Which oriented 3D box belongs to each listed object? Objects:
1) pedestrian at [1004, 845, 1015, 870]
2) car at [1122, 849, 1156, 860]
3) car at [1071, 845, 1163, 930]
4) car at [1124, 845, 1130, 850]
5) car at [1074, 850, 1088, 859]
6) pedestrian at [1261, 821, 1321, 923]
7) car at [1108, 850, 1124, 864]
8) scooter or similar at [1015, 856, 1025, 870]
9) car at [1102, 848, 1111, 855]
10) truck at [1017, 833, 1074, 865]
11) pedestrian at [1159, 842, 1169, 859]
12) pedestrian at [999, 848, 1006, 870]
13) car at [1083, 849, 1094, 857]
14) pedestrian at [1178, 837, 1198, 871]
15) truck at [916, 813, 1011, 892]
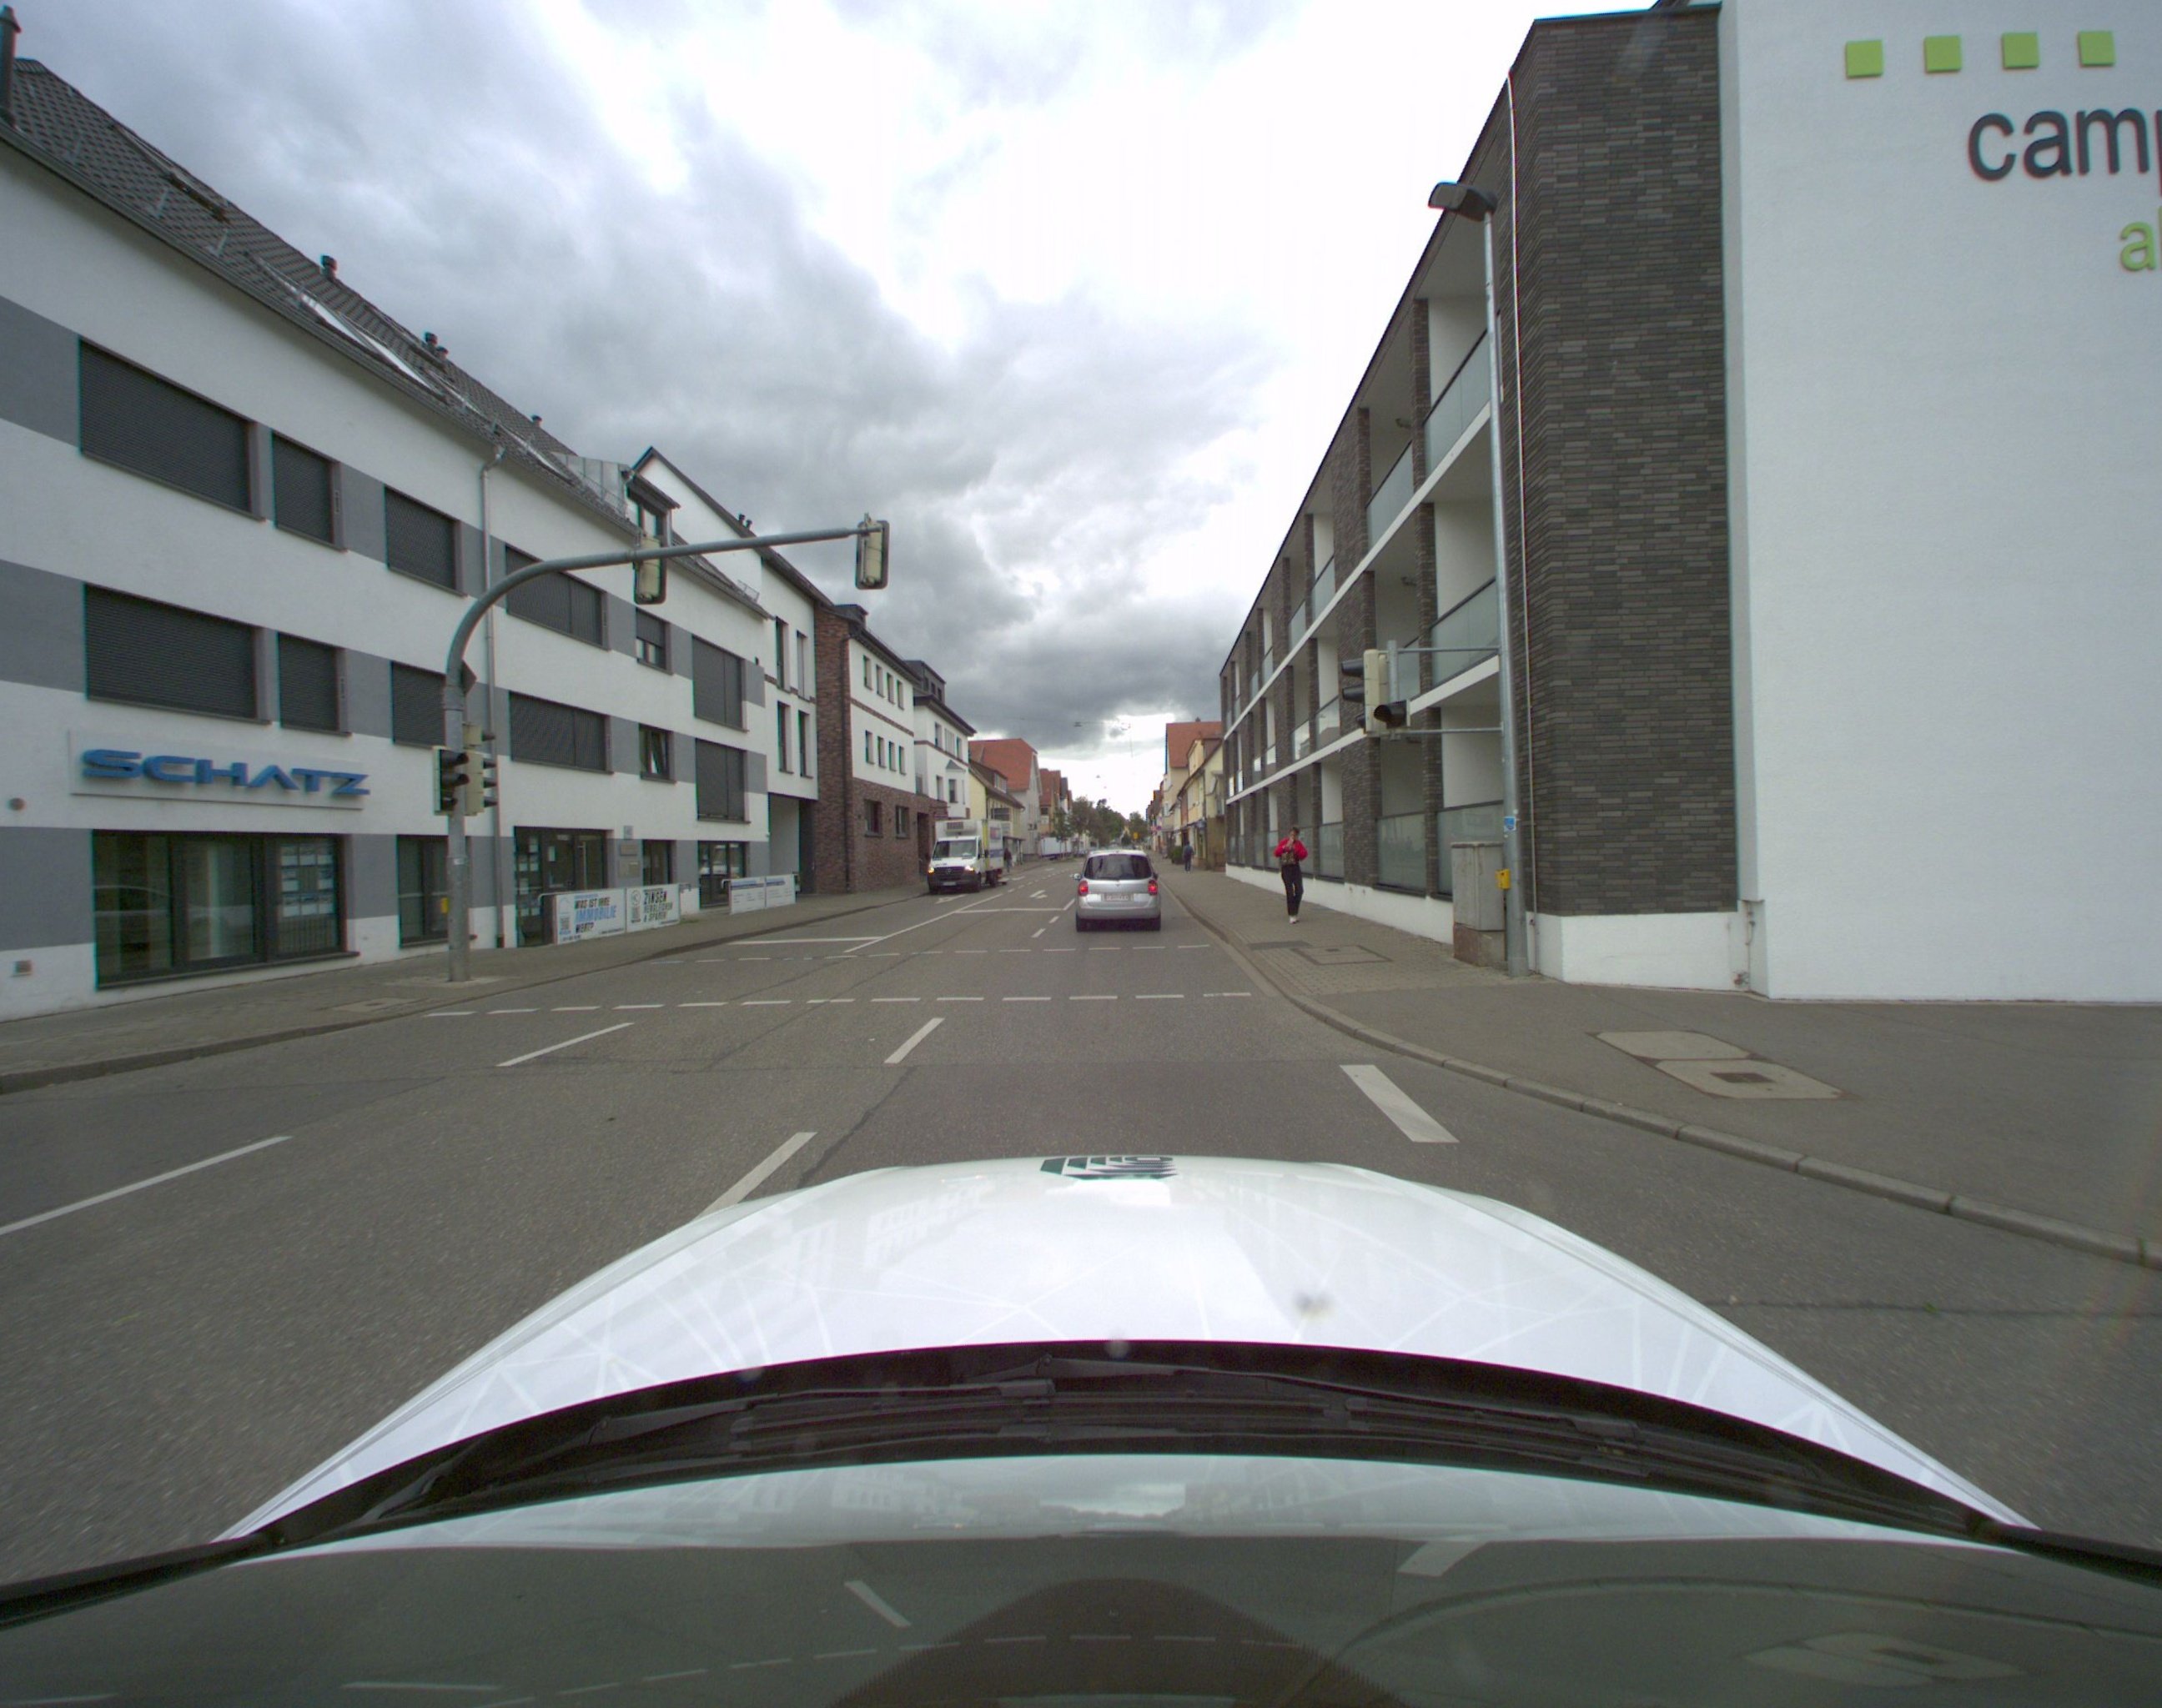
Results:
[{"bbox_3d":[-4.959,0.250,56.823,0.659,1.757,0.688,0,0,3],"label":"pedestrian"},{"bbox_3d":[6.987,0.076,97.826,3.740,1.314,1.511,0,0,-18],"label":"car"},{"bbox_3d":[0.767,0.608,17.121,1.700,1.579,4.003,0,0,3],"label":"car"},{"bbox_3d":[13.730,-1.926,241.636,1.805,1.354,4.004,-2,0,3],"label":"car"},{"bbox_3d":[-0.016,0.073,122.159,1.805,1.354,4.004,-2,0,3],"label":"car"},{"bbox_3d":[3.872,0.316,15.084,0.804,1.787,0.862,-4,0,3],"label":"pedestrian"},{"bbox_3d":[3.822,0.322,89.696,1.700,1.579,4.003,0,0,3],"label":"car"},{"bbox_3d":[-5.898,0.887,78.669,0.573,1.269,2.551,-2,0,4],"label":"scooter or similar"},{"bbox_3d":[5.655,-0.528,179.031,1.805,1.354,3.861,-2,0,3],"label":"car"},{"bbox_3d":[-4.609,-0.633,105.738,6.870,3.857,2.579,-2,0,-31],"label":"truck"},{"bbox_3d":[8.987,-0.394,88.203,0.886,1.787,0.786,-4,0,3],"label":"pedestrian"},{"bbox_3d":[-5.515,0.320,57.179,0.424,1.525,0.554,0,0,3],"label":"pedestrian"},{"bbox_3d":[1.404,-0.208,148.732,1.805,1.354,4.004,-2,0,3],"label":"car"},{"bbox_3d":[5.899,0.012,44.989,0.886,1.787,0.786,-4,0,3],"label":"pedestrian"},{"bbox_3d":[-4.828,-0.066,35.156,2.425,2.953,8.370,-2,0,3],"label":"truck"}]
